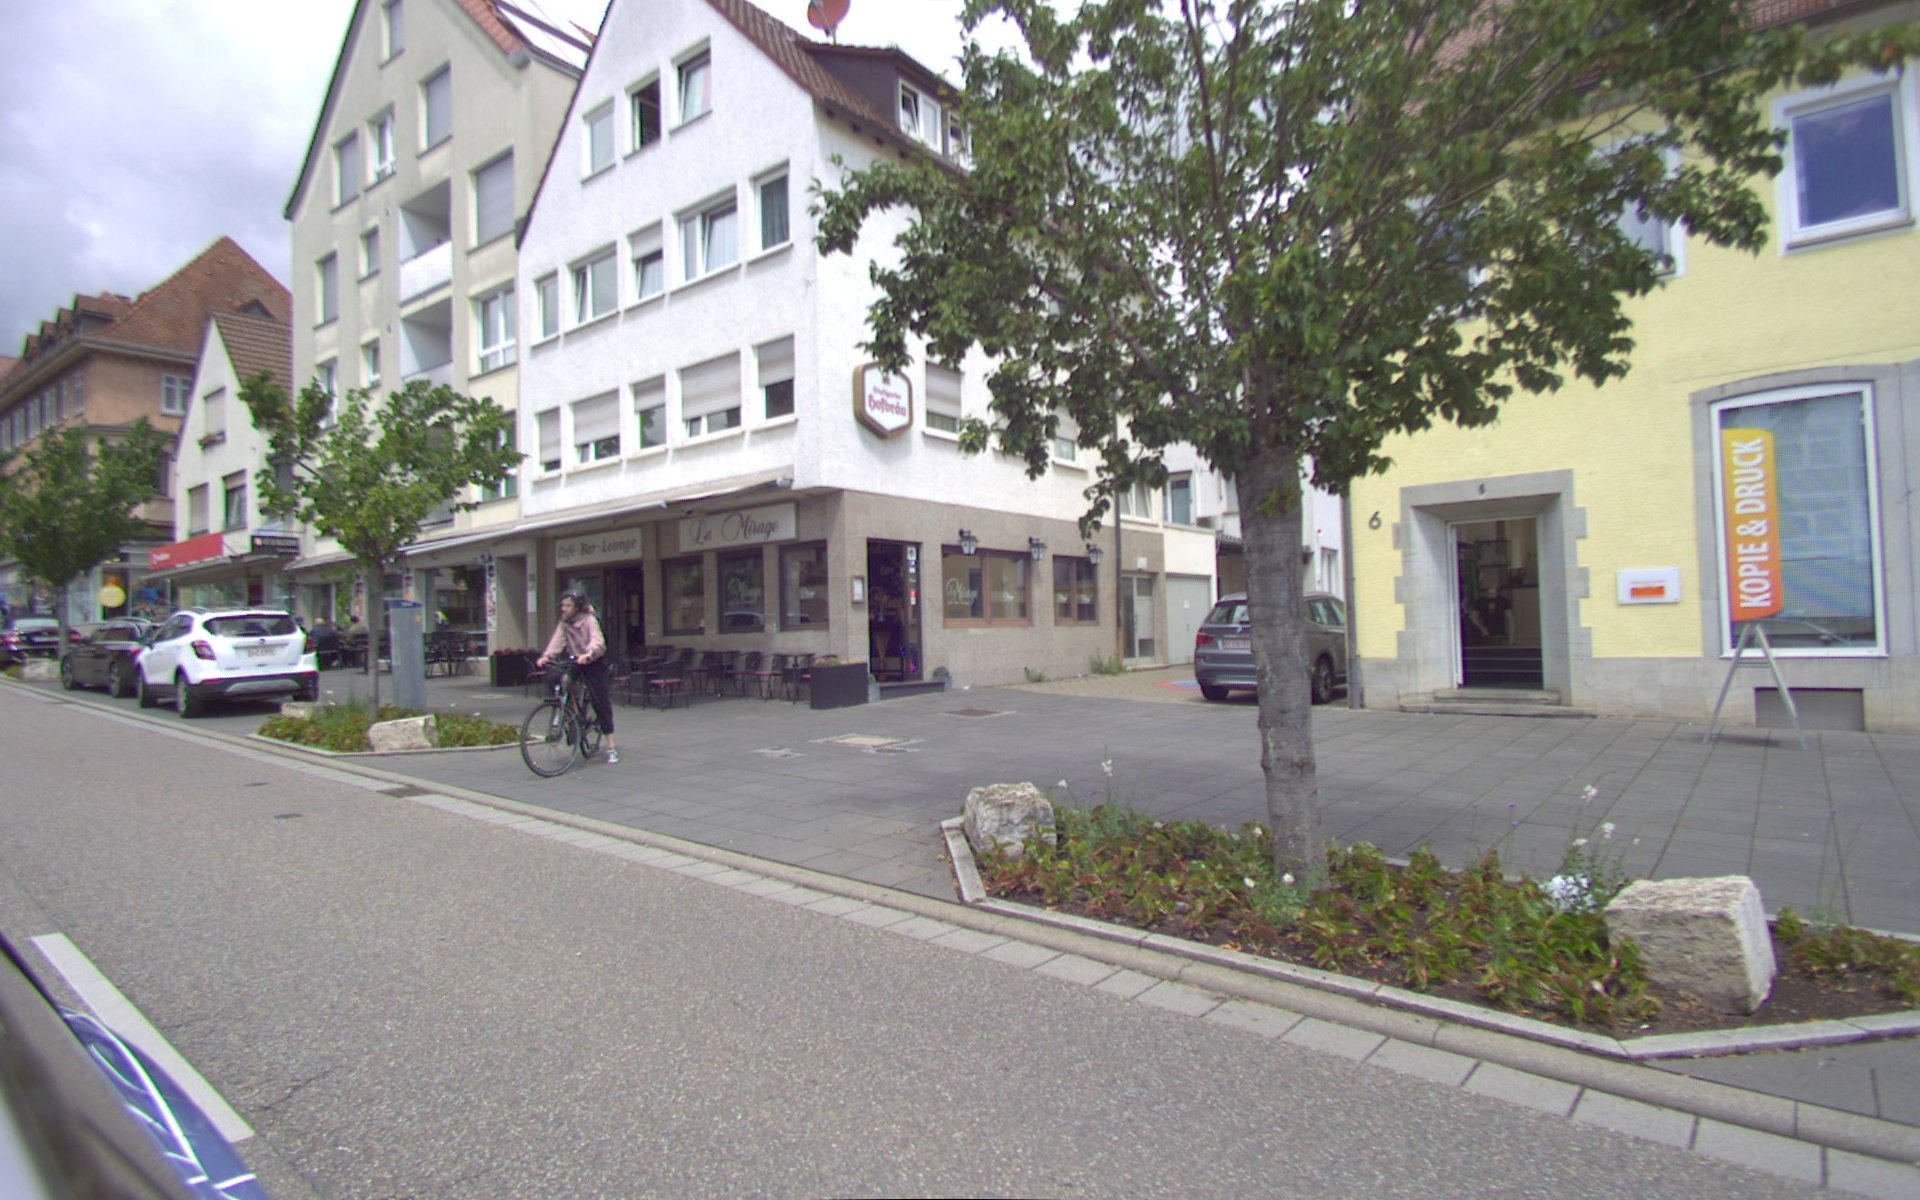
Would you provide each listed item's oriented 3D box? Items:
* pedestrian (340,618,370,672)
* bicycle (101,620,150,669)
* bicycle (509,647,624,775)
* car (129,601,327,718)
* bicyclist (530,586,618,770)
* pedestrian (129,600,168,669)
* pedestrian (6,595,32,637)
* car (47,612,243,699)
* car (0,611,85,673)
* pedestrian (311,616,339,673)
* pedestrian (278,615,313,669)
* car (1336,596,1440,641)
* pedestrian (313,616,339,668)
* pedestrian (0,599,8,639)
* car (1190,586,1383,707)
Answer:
[{"bbox_3d":[-14.539,1.070,24.322,0.566,1.259,0.423,-1,-1,37],"label":"pedestrian"},{"bbox_3d":[-20.179,1.059,24.459,1.904,1.115,0.479,0,0,36],"label":"bicycle"},{"bbox_3d":[-3.760,1.018,9.796,0.408,1.096,1.653,1,-2,2],"label":"bicycle"},{"bbox_3d":[-12.029,0.878,16.537,4.130,1.659,1.649,-1,0,40],"label":"car"},{"bbox_3d":[-3.714,0.733,9.782,0.503,1.708,0.777,0,-2,3],"label":"bicyclist"},{"bbox_3d":[-21.454,0.899,26.753,0.777,1.774,0.653,1,0,39],"label":"pedestrian"},{"bbox_3d":[-36.165,0.613,38.901,0.641,1.594,0.608,1,0,35],"label":"pedestrian"},{"bbox_3d":[-16.095,1.007,19.931,4.504,1.462,1.824,0,1,35],"label":"car"},{"bbox_3d":[-24.512,1.039,26.485,4.438,1.402,1.641,1,0,38],"label":"car"},{"bbox_3d":[-14.871,1.043,23.716,0.453,1.309,0.417,-1,-1,37],"label":"pedestrian"},{"bbox_3d":[-16.175,1.004,24.624,0.598,1.277,0.545,0,0,37],"label":"pedestrian"},{"bbox_3d":[18.200,0.788,43.063,3.934,1.820,1.484,-2,-1,29],"label":"car"},{"bbox_3d":[-15.723,1.036,25.090,0.499,1.259,0.391,-1,-1,37],"label":"pedestrian"},{"bbox_3d":[-36.623,0.723,38.499,0.527,1.489,0.491,1,0,35],"label":"pedestrian"},{"bbox_3d":[5.171,0.650,15.782,1.730,1.663,3.494,-2,-1,38],"label":"car"}]
